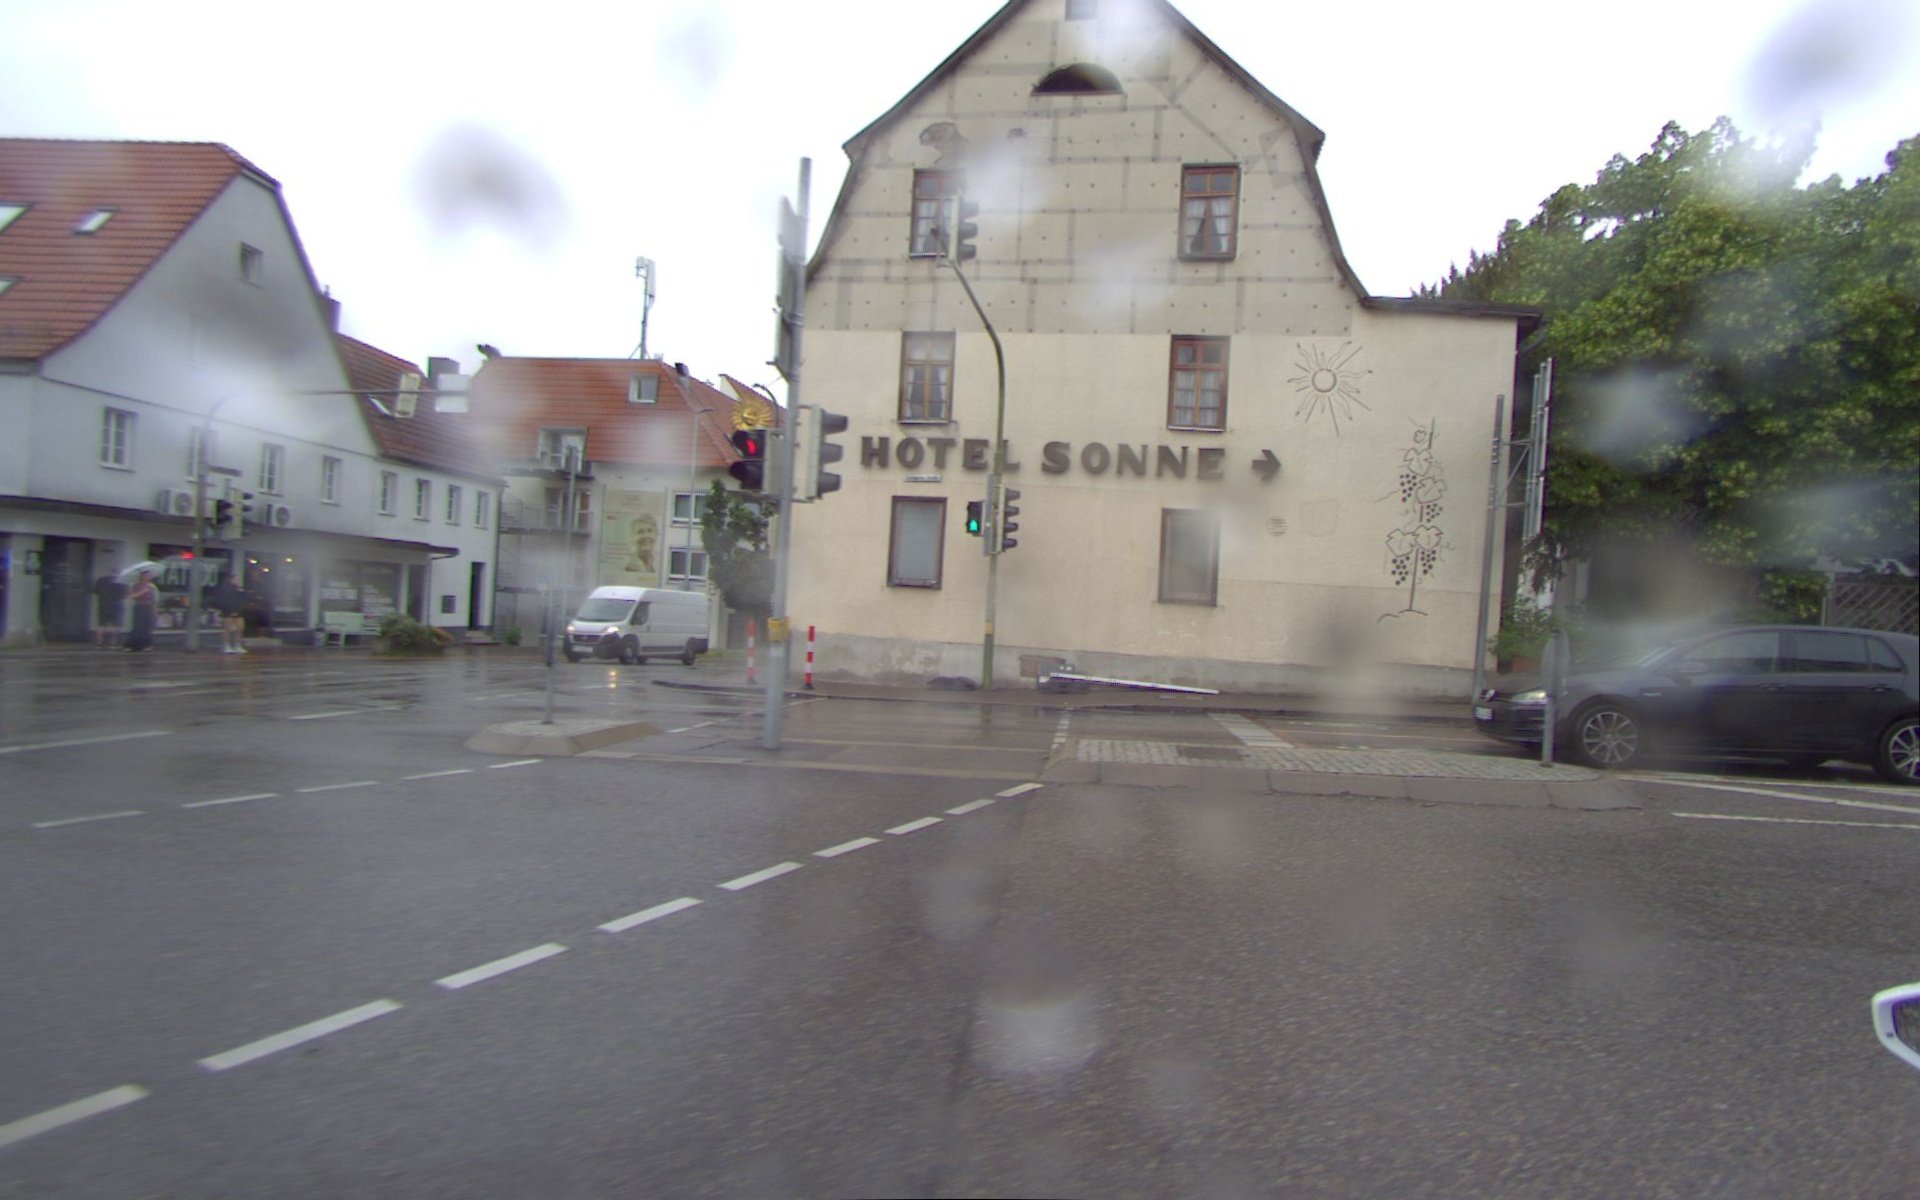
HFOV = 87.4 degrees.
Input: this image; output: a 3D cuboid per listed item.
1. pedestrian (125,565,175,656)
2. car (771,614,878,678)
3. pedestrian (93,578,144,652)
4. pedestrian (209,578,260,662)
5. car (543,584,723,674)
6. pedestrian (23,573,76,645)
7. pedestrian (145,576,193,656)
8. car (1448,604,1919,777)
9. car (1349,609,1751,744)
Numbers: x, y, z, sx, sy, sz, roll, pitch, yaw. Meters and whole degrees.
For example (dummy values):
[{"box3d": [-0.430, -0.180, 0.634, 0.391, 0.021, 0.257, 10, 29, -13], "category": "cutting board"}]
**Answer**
[{"box3d": [-17.159, 0.211, 21.287, 0.525, 1.896, 0.634, 1, 1, 6], "category": "pedestrian"}, {"box3d": [-4.359, 1.433, 33.002, 1.912, 1.588, 4.417, 3, 4, 15], "category": "car"}, {"box3d": [-18.412, 0.312, 21.990, 0.582, 1.580, 0.634, 1, 1, 6], "category": "pedestrian"}, {"box3d": [-16.732, 0.449, 23.176, 0.592, 1.892, 0.748, 1, 1, 6], "category": "pedestrian"}, {"box3d": [-10.529, 0.862, 33.104, 2.543, 2.661, 6.560, 0, 0, 14], "category": "car"}, {"box3d": [-20.181, 0.191, 22.266, 0.582, 1.580, 0.634, 1, 1, 6], "category": "pedestrian"}, {"box3d": [-18.020, 0.361, 22.899, 0.582, 1.798, 0.634, 1, 1, 6], "category": "pedestrian"}, {"box3d": [7.475, 0.858, 10.163, 4.228, 1.524, 1.780, 1, -2, 8], "category": "car"}, {"box3d": [7.376, 0.935, 12.969, 4.101, 1.538, 1.780, 1, -2, 9], "category": "car"}]
